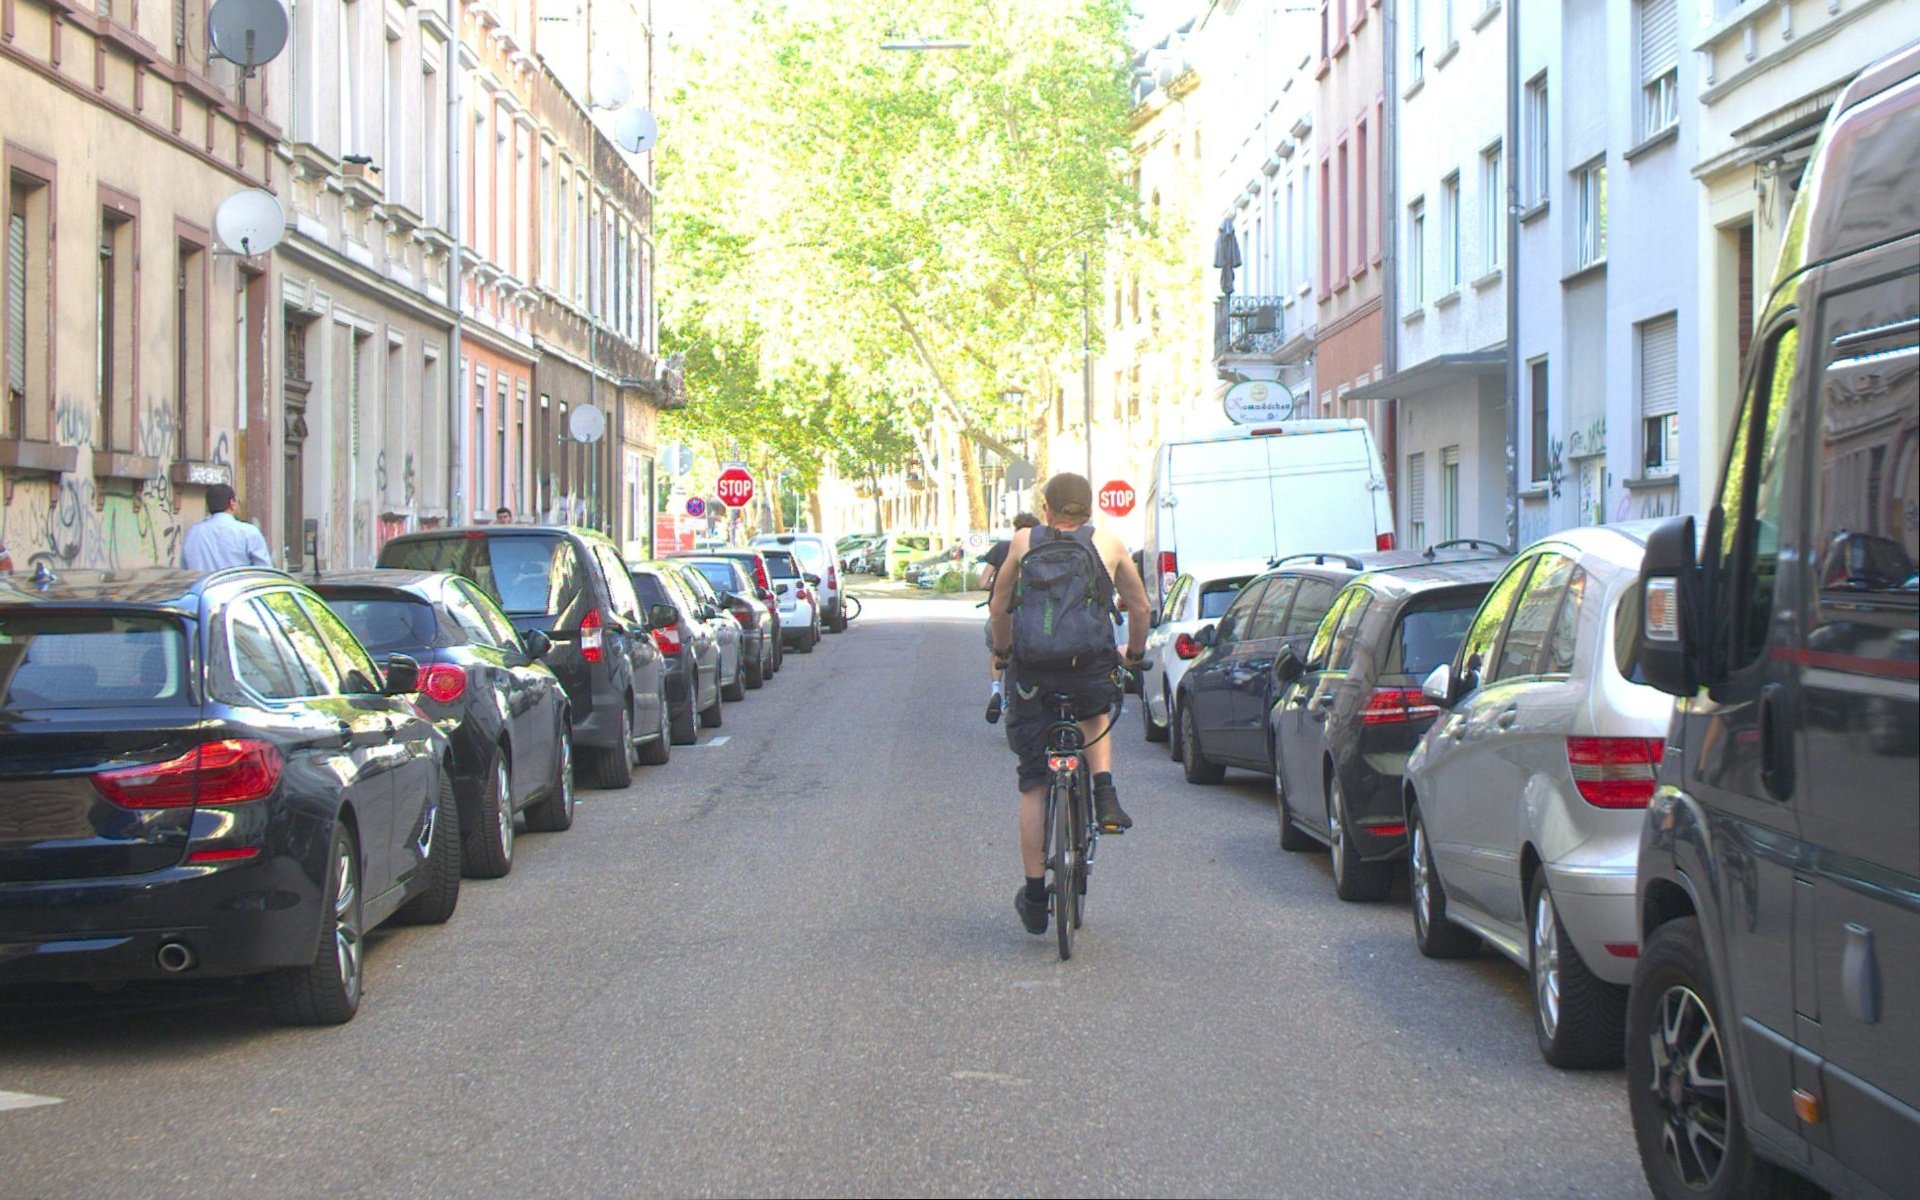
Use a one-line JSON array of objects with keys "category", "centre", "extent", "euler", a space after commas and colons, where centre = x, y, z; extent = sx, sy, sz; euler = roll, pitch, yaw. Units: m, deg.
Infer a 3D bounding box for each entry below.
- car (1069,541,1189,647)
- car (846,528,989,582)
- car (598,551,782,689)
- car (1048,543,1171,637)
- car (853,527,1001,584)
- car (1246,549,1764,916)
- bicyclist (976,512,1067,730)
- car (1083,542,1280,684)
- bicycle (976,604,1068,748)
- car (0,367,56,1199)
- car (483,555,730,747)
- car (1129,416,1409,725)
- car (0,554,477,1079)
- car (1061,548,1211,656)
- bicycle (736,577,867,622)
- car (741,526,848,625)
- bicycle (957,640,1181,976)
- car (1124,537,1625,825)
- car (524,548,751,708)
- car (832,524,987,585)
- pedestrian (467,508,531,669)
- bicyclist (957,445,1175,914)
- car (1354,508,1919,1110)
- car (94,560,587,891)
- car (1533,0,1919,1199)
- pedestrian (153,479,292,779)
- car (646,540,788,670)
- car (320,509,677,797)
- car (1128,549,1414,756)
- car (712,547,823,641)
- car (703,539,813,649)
[{"category": "car", "centre": [2.466, -0.114, 50.924], "extent": [1.592, 1.487, 3.876], "euler": [-1, 1, 0]}, {"category": "car", "centre": [-1.382, -1.455, 110.636], "extent": [4.468, 1.690, 1.867], "euler": [-1, 1, -4]}, {"category": "car", "centre": [-2.946, 0.178, 38.252], "extent": [1.706, 1.409, 4.302], "euler": [-1, 1, 0]}, {"category": "car", "centre": [2.417, -0.193, 56.382], "extent": [1.710, 1.465, 4.000], "euler": [-1, 1, -2]}, {"category": "car", "centre": [-1.049, -1.398, 107.196], "extent": [4.468, 1.690, 1.867], "euler": [-1, 1, -4]}, {"category": "car", "centre": [2.430, 0.516, 16.322], "extent": [1.746, 1.480, 4.243], "euler": [-1, 1, 0]}, {"category": "bicyclist", "centre": [0.469, 0.153, 26.619], "extent": [0.669, 1.653, 0.877], "euler": [-1, 1, 0]}, {"category": "car", "centre": [2.400, 0.098, 38.128], "extent": [1.731, 1.465, 4.022], "euler": [-1, 1, -3]}, {"category": "bicycle", "centre": [0.471, 0.569, 26.725], "extent": [0.664, 1.034, 1.959], "euler": [-1, 1, 0]}, {"category": "car", "centre": [-3.016, 0.508, 5.511], "extent": [1.827, 1.885, 4.614], "euler": [-3, 1, 0]}, {"category": "car", "centre": [-2.835, 0.368, 28.216], "extent": [1.592, 1.435, 3.654], "euler": [-1, 1, 1]}, {"category": "car", "centre": [2.717, -0.300, 31.589], "extent": [2.204, 2.542, 6.036], "euler": [-1, 1, 2]}, {"category": "car", "centre": [-2.903, 0.600, 12.217], "extent": [1.862, 1.435, 4.646], "euler": [-1, 2, -2]}, {"category": "car", "centre": [2.307, -0.007, 45.834], "extent": [1.657, 1.334, 4.000], "euler": [-1, 1, -2]}, {"category": "bicycle", "centre": [-3.331, -0.017, 72.296], "extent": [2.715, 0.889, 0.619], "euler": [-1, 1, -2]}, {"category": "car", "centre": [-2.992, -0.476, 62.784], "extent": [1.787, 1.731, 3.876], "euler": [-1, 1, -1]}, {"category": "bicycle", "centre": [0.378, 0.738, 13.016], "extent": [0.740, 1.097, 2.042], "euler": [1, 1, 0]}, {"category": "car", "centre": [2.437, 0.404, 21.493], "extent": [1.811, 1.473, 4.609], "euler": [-4, 2, -9]}, {"category": "car", "centre": [-3.048, 0.227, 33.193], "extent": [1.674, 1.425, 3.888], "euler": [-1, 1, 2]}, {"category": "car", "centre": [-1.514, -1.363, 102.192], "extent": [4.468, 1.753, 1.867], "euler": [-1, 1, -4]}, {"category": "pedestrian", "centre": [-5.401, -0.144, 40.300], "extent": [0.610, 1.851, 0.754], "euler": [2, 1, -1]}, {"category": "bicyclist", "centre": [0.381, 0.278, 12.943], "extent": [0.740, 1.673, 1.116], "euler": [1, 1, 0]}, {"category": "car", "centre": [2.467, 0.522, 11.569], "extent": [1.693, 1.602, 4.375], "euler": [-2, 1, 0]}, {"category": "car", "centre": [-2.970, 0.535, 17.279], "extent": [1.736, 1.422, 4.000], "euler": [-1, 1, 0]}, {"category": "car", "centre": [2.513, 0.192, 5.034], "extent": [2.175, 2.417, 6.310], "euler": [-2, 1, 0]}, {"category": "pedestrian", "centre": [-4.587, 0.172, 21.413], "extent": [0.651, 1.811, 0.754], "euler": [2, 1, 1]}, {"category": "car", "centre": [-3.018, 0.033, 43.211], "extent": [1.604, 1.525, 3.379], "euler": [-2, 1, -2]}, {"category": "car", "centre": [-3.014, 0.296, 23.236], "extent": [1.801, 1.692, 4.000], "euler": [-3, 1, 0]}, {"category": "car", "centre": [2.289, 0.340, 26.157], "extent": [1.725, 1.424, 3.833], "euler": [-1, 1, -1]}, {"category": "car", "centre": [-3.013, -0.119, 54.351], "extent": [1.553, 1.395, 3.668], "euler": [-1, 1, -1]}, {"category": "car", "centre": [-2.966, -0.118, 50.585], "extent": [1.544, 1.545, 3.466], "euler": [-1, 1, -3]}]
